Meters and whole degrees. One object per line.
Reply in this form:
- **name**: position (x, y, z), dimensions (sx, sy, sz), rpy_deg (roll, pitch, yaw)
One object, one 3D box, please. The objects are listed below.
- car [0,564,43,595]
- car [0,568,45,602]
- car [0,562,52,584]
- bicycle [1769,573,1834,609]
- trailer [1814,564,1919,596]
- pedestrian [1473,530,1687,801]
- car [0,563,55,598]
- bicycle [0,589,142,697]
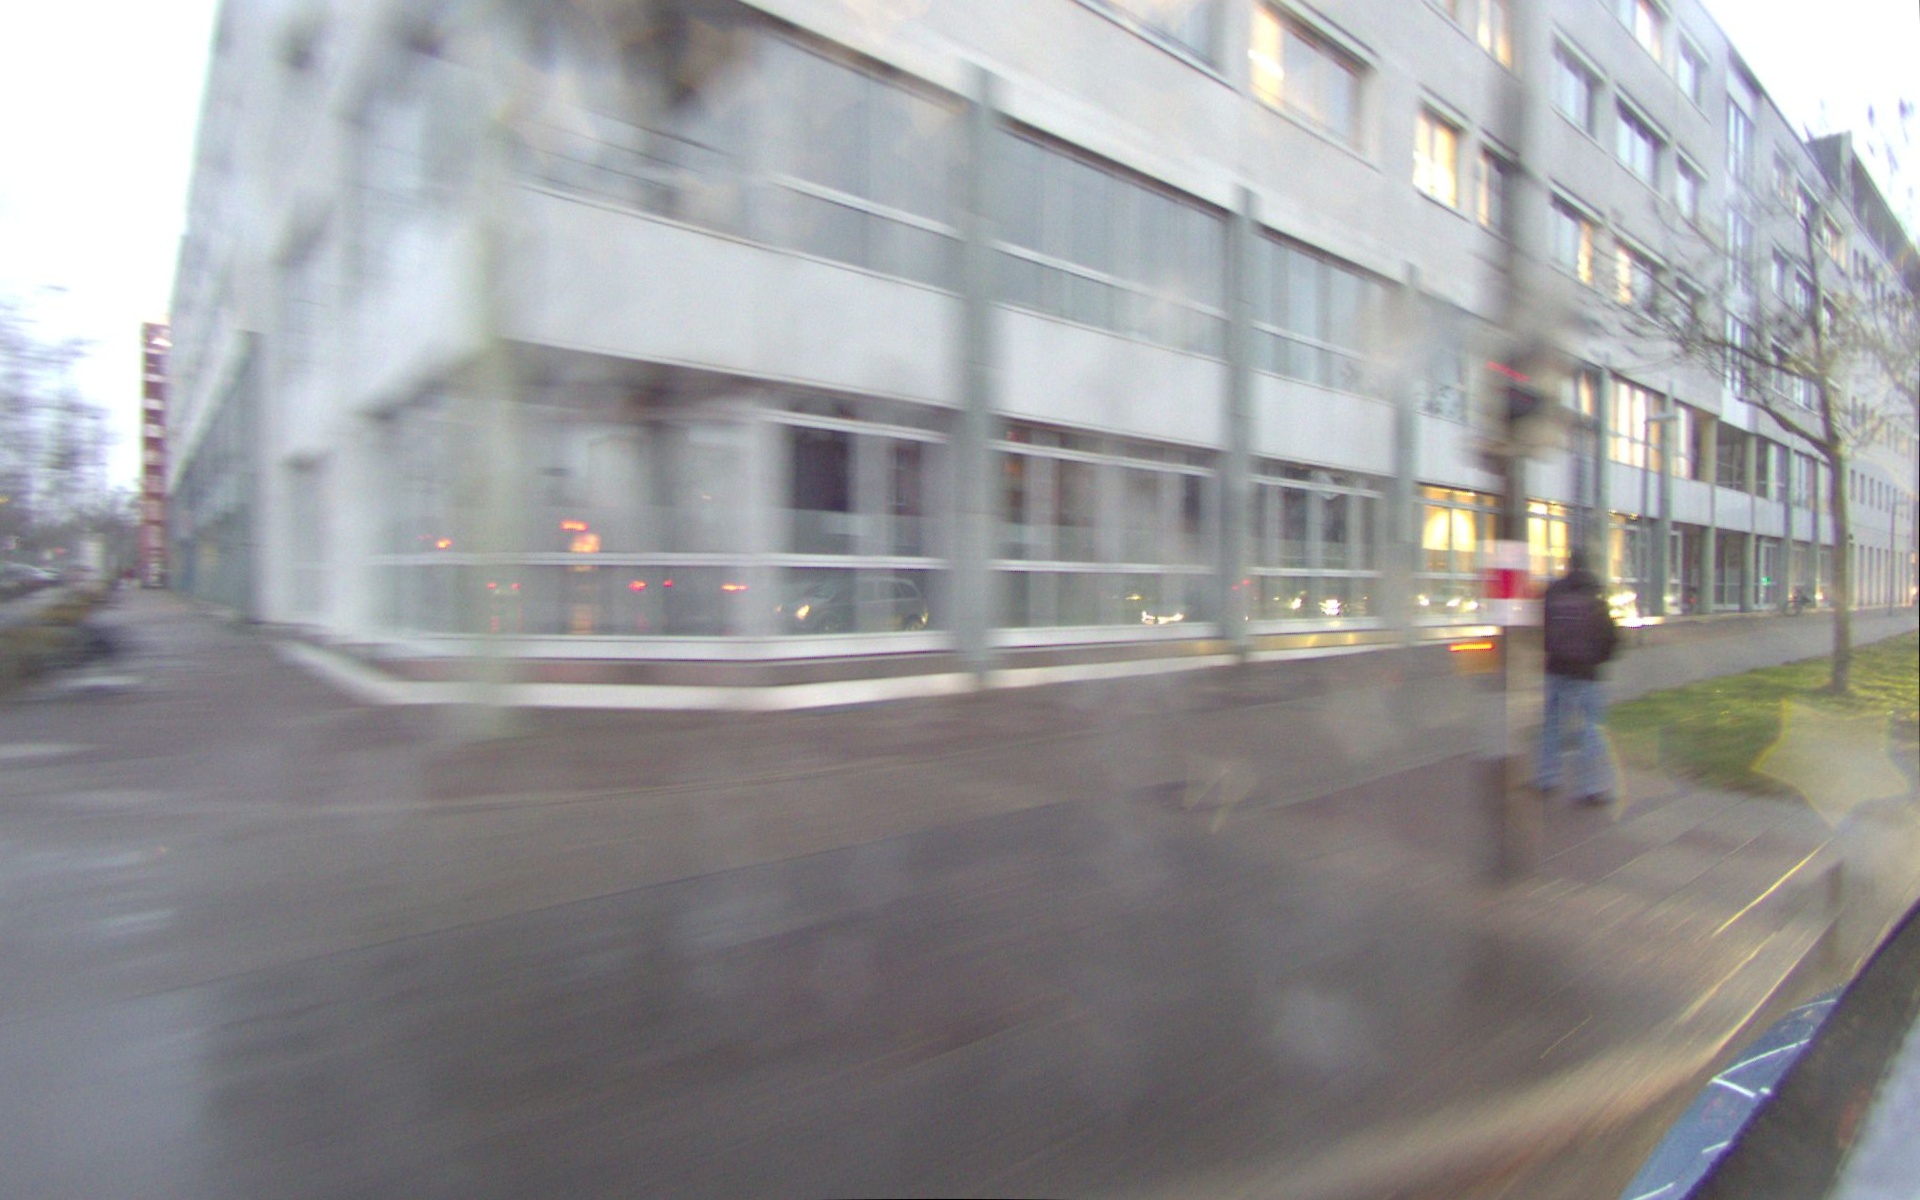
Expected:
- **car**: position (-49.661, -1.032, 51.705), dimensions (4.051, 1.548, 1.605), rpy_deg (-2, 0, -40)
- **car**: position (-42.413, -0.610, 43.772), dimensions (4.061, 1.439, 1.770), rpy_deg (-2, 0, -40)
- **car**: position (-68.136, -1.934, 72.951), dimensions (3.796, 1.472, 1.670), rpy_deg (-2, 0, -38)
- **bicycle**: position (31.636, -0.335, 38.026), dimensions (2.406, 1.288, 0.827), rpy_deg (1, 4, -24)
- **trailer**: position (58.593, -1.267, 65.200), dimensions (2.089, 1.936, 5.085), rpy_deg (1, 0, -34)
- **pedestrian**: position (4.320, 0.423, 7.113), dimensions (0.843, 1.771, 0.800), rpy_deg (2, 4, -13)
- **car**: position (-45.584, -0.889, 47.313), dimensions (4.725, 1.575, 1.771), rpy_deg (-2, 0, -38)
- **bicycle**: position (-10.075, 0.451, 10.993), dimensions (1.842, 1.118, 0.471), rpy_deg (-1, 2, -41)
